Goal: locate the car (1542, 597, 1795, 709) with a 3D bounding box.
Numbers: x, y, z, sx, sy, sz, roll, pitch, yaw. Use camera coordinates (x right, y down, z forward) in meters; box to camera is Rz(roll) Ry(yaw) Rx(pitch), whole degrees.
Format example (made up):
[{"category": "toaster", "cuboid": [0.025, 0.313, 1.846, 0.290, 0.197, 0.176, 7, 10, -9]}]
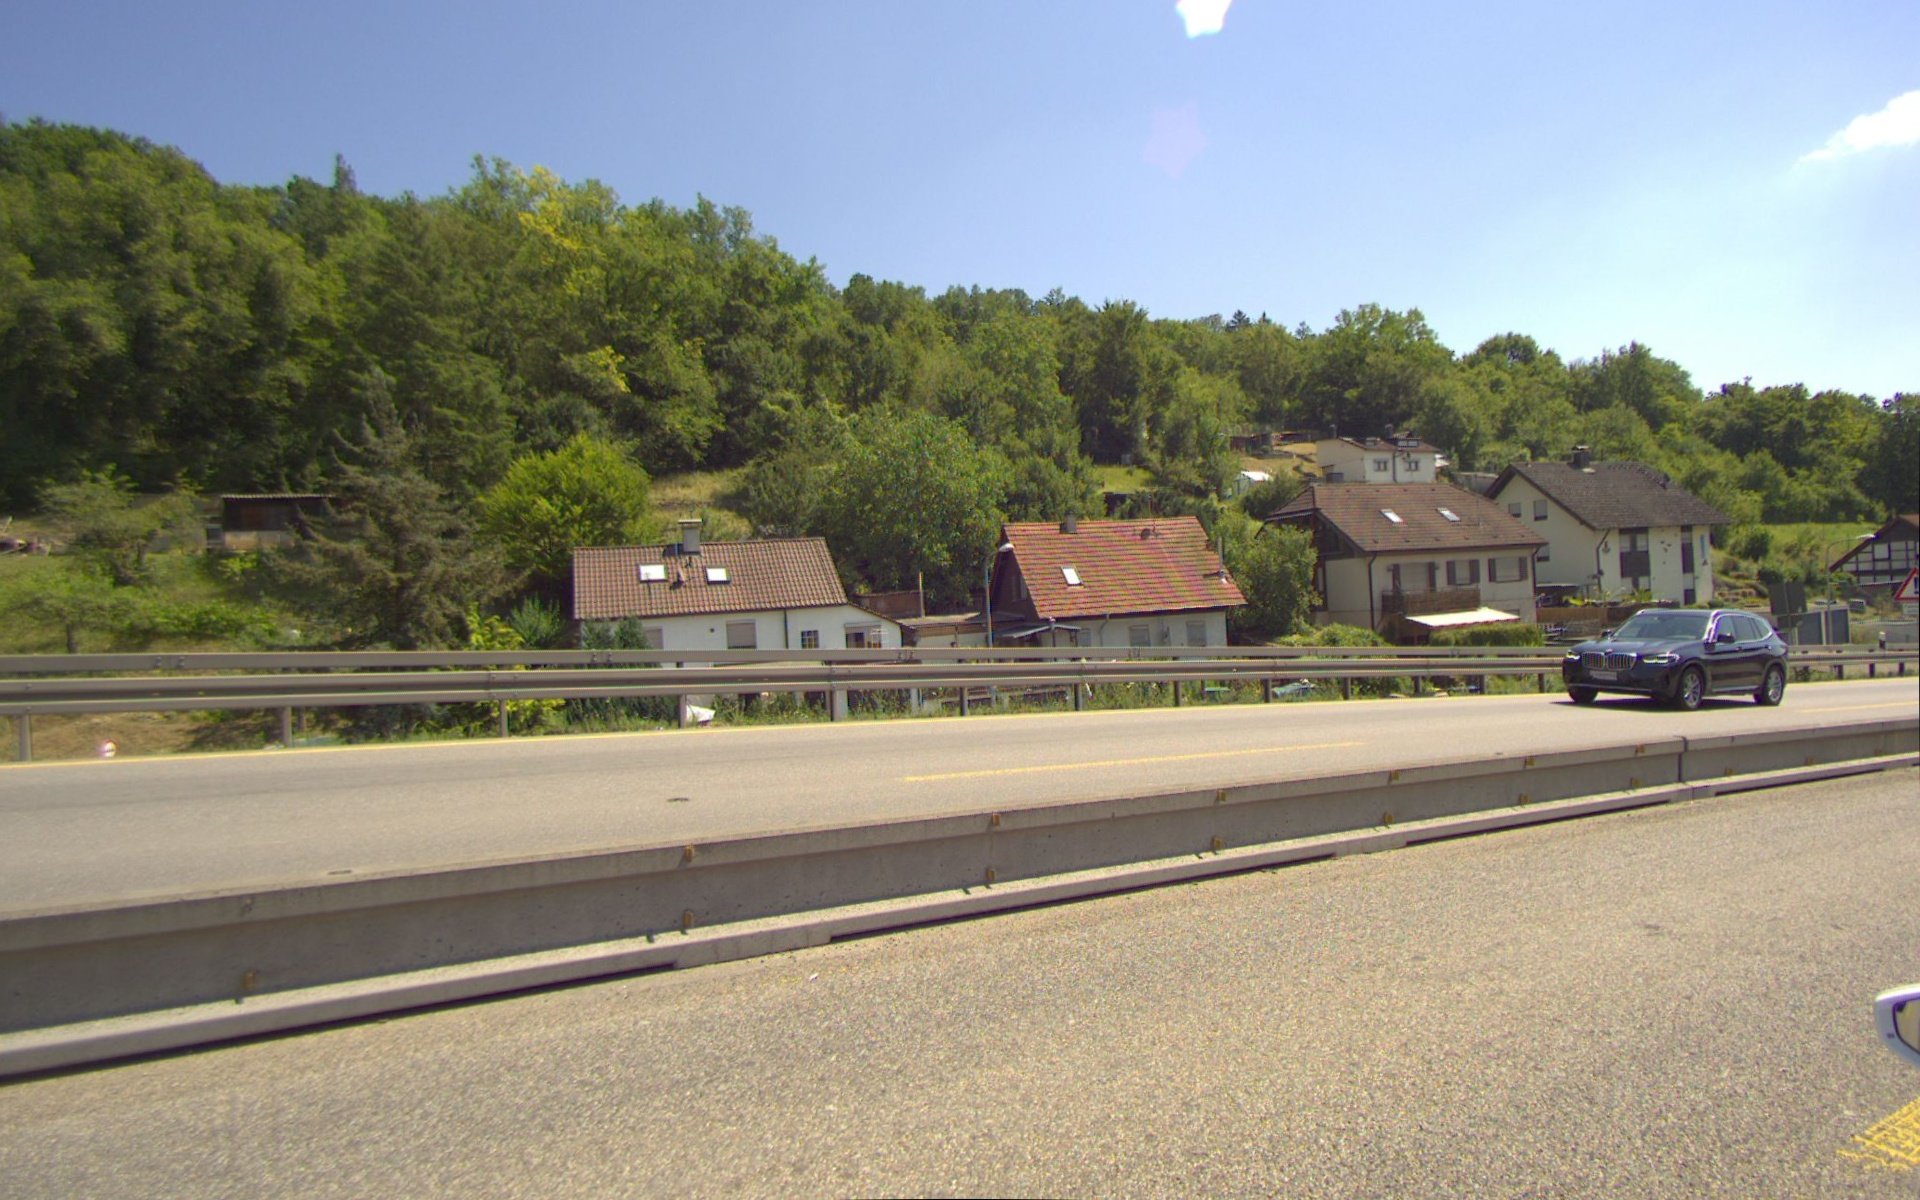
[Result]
[{"category": "car", "cuboid": [12.540, 0.910, 17.716, 4.608, 1.765, 1.896, 2, -1, -30]}]
